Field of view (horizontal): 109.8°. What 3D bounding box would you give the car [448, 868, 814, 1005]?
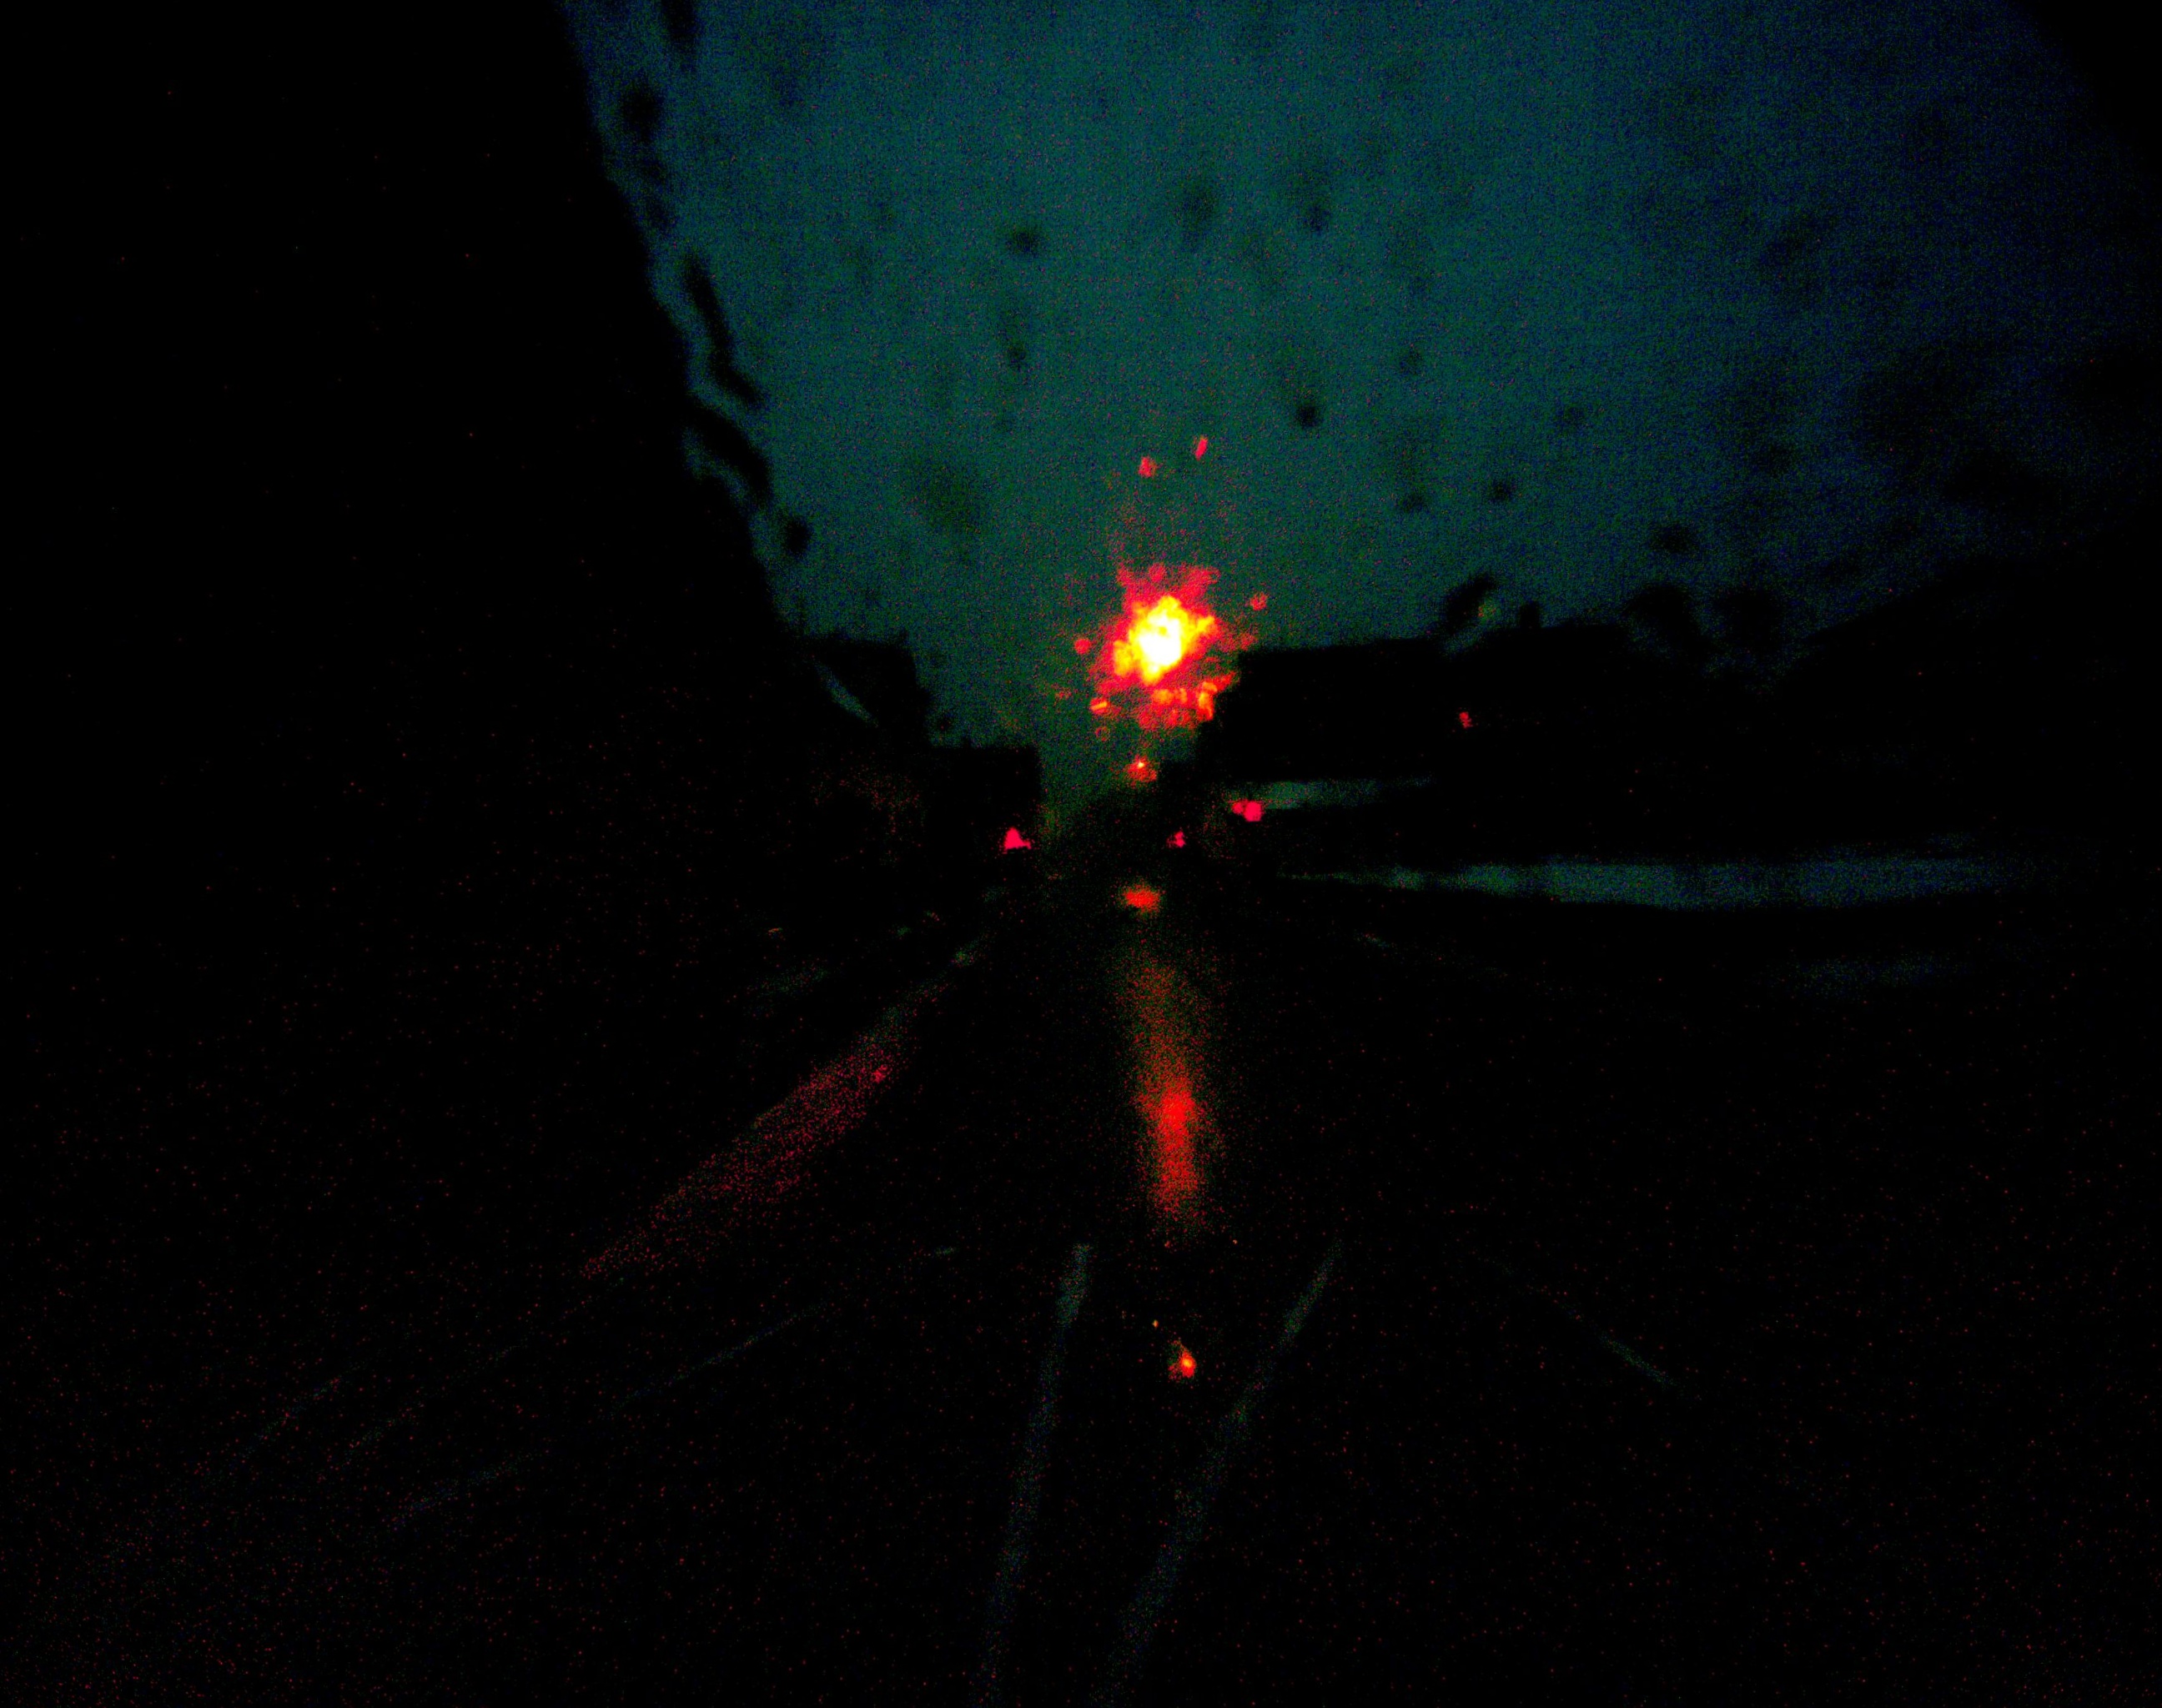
[{"bbox_3d":[-5.781,1.010,10.205,3.752,1.488,1.821,-2,0,-6],"label":"car"}]
